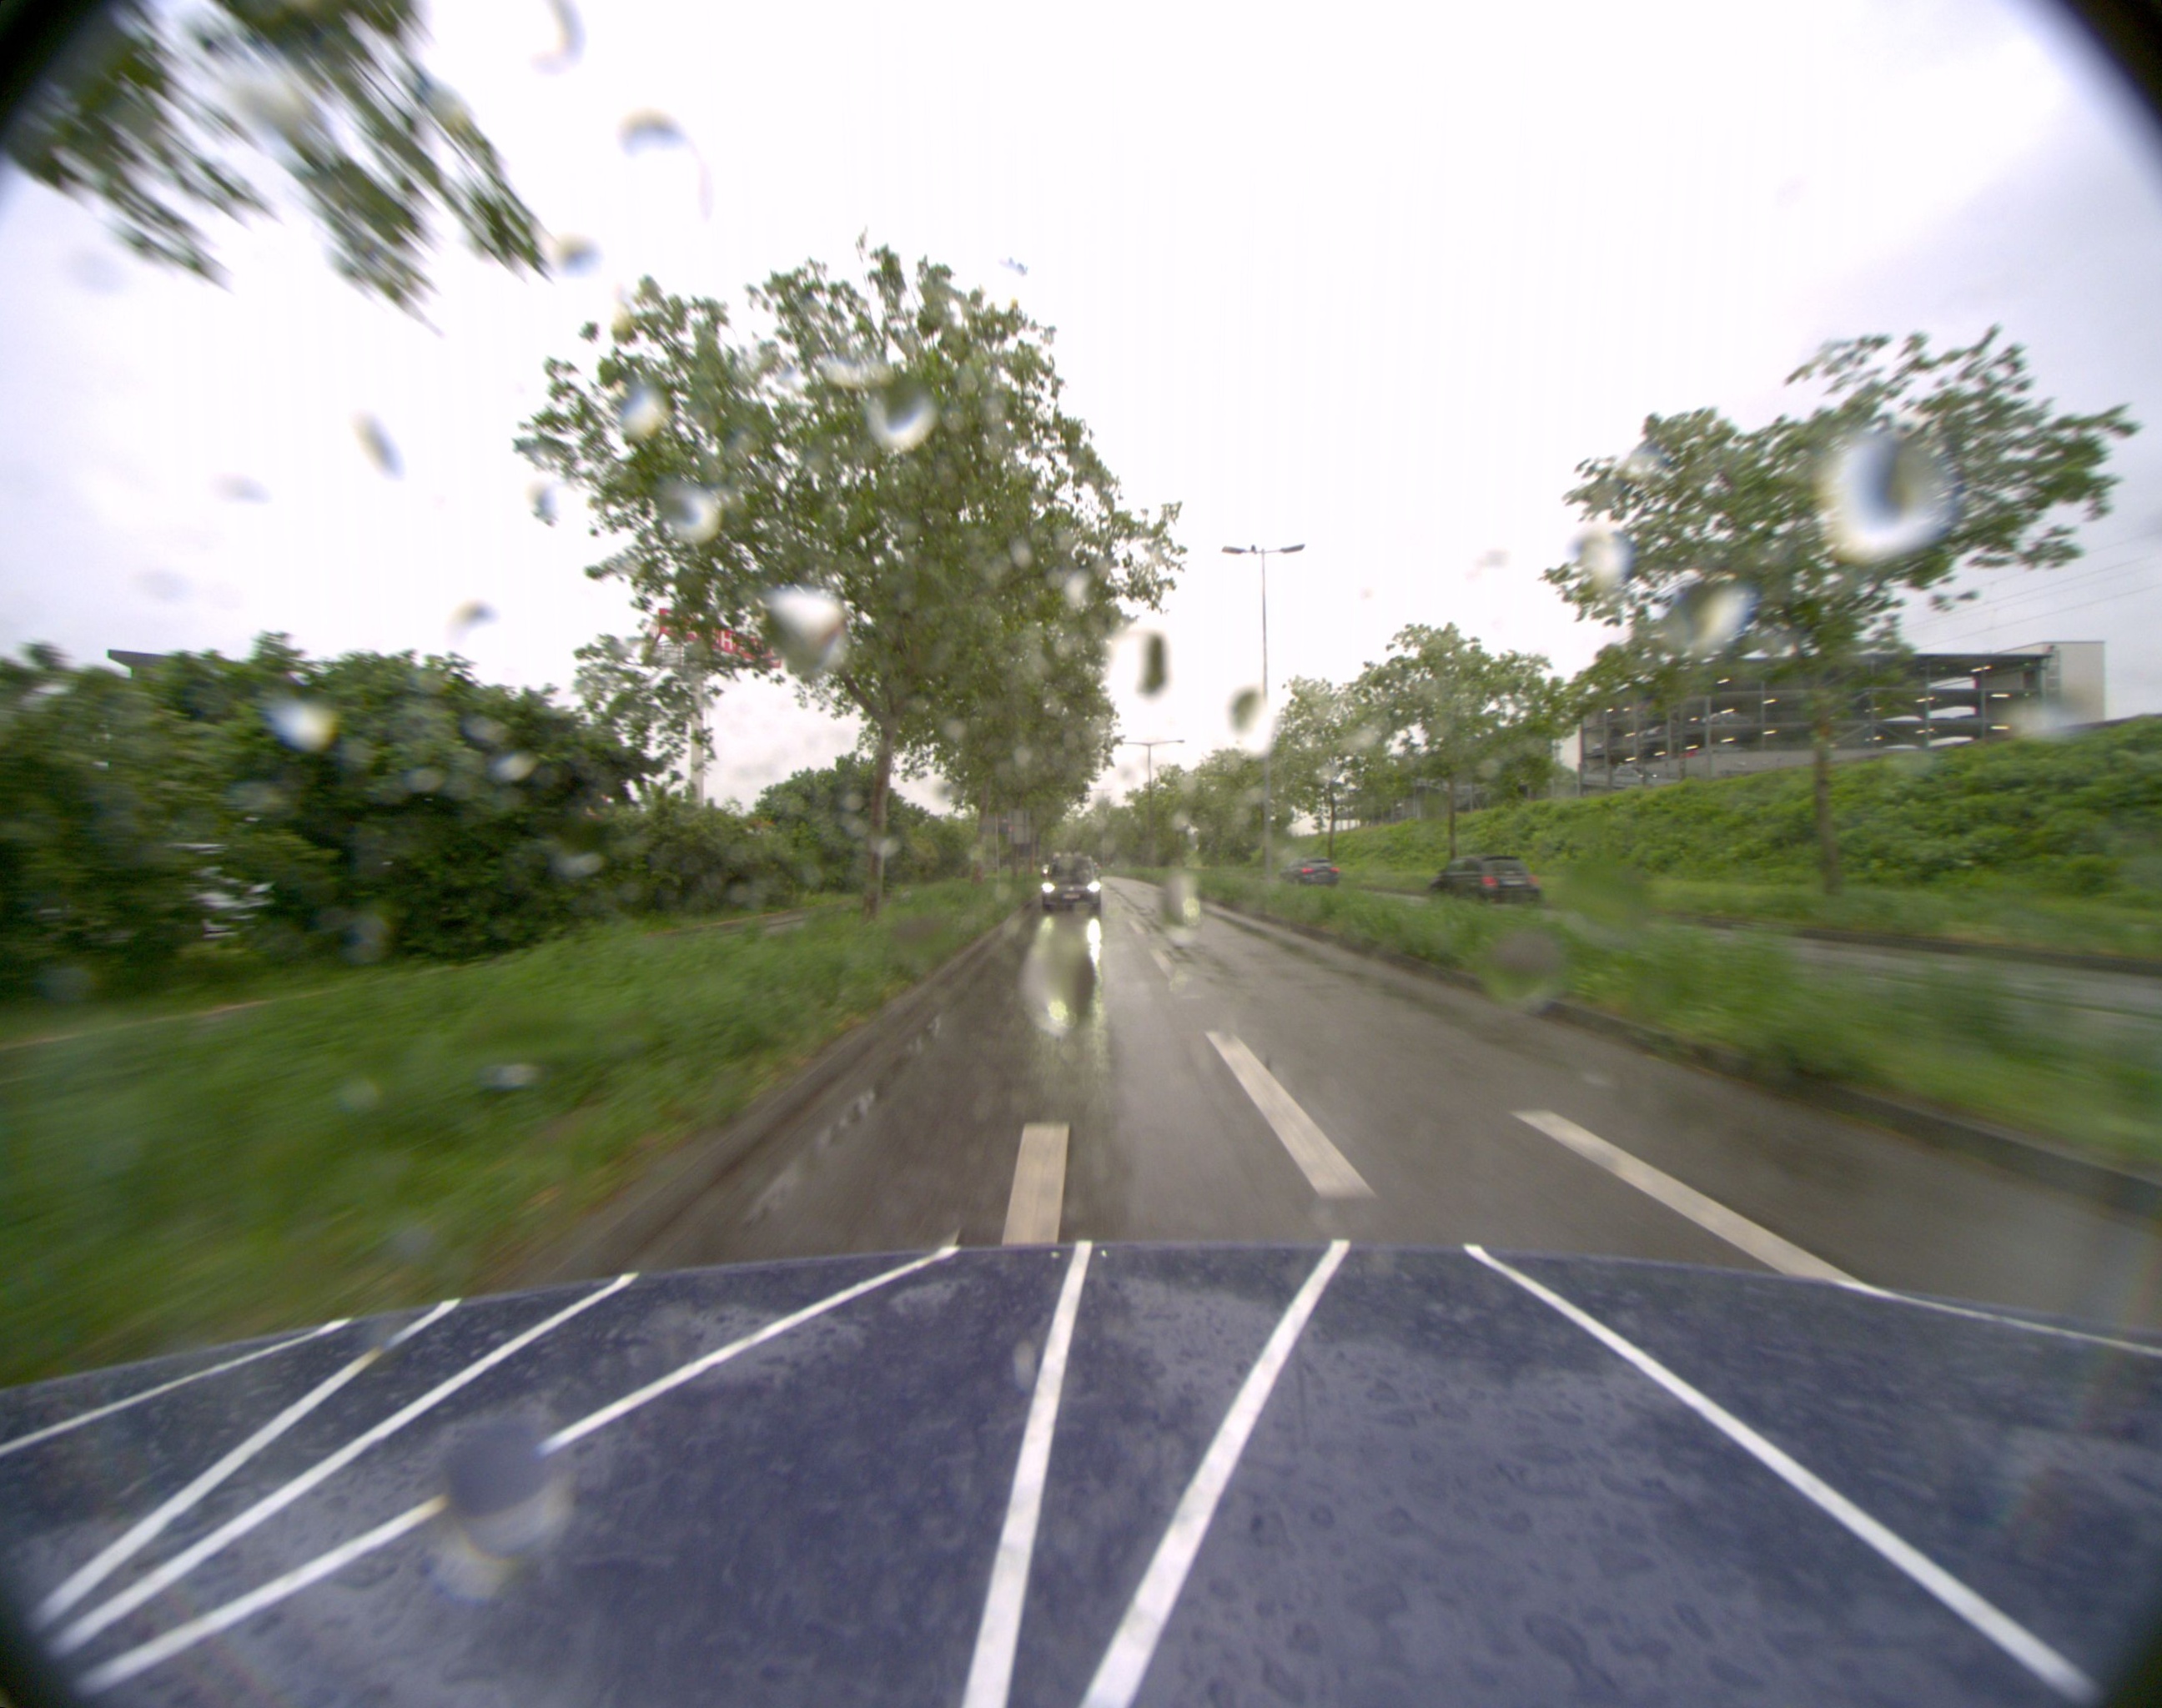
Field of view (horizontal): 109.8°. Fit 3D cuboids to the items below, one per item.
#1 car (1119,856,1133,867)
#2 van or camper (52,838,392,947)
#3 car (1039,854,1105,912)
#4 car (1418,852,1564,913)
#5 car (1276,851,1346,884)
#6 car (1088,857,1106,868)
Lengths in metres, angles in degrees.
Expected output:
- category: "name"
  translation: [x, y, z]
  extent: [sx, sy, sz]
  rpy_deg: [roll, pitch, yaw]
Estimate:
- category: "car"
  translation: [6.337, 1.059, 106.815]
  extent: [1.635, 1.417, 4.000]
  rpy_deg: [-2, 0, 0]
- category: "van or camper"
  translation: [-22.275, 0.946, 19.916]
  extent: [6.379, 2.529, 1.999]
  rpy_deg: [-2, 1, -2]
- category: "car"
  translation: [-0.193, 0.863, 24.740]
  extent: [1.788, 1.605, 4.717]
  rpy_deg: [-3, 0, 3]
- category: "car"
  translation: [10.920, 0.697, 20.566]
  extent: [1.936, 1.436, 3.707]
  rpy_deg: [-1, 0, 1]
- category: "car"
  translation: [10.732, 0.589, 35.837]
  extent: [1.936, 1.436, 4.496]
  rpy_deg: [-1, 0, 1]
- category: "car"
  translation: [2.325, 1.187, 110.013]
  extent: [1.708, 1.486, 4.201]
  rpy_deg: [-2, 0, -10]
